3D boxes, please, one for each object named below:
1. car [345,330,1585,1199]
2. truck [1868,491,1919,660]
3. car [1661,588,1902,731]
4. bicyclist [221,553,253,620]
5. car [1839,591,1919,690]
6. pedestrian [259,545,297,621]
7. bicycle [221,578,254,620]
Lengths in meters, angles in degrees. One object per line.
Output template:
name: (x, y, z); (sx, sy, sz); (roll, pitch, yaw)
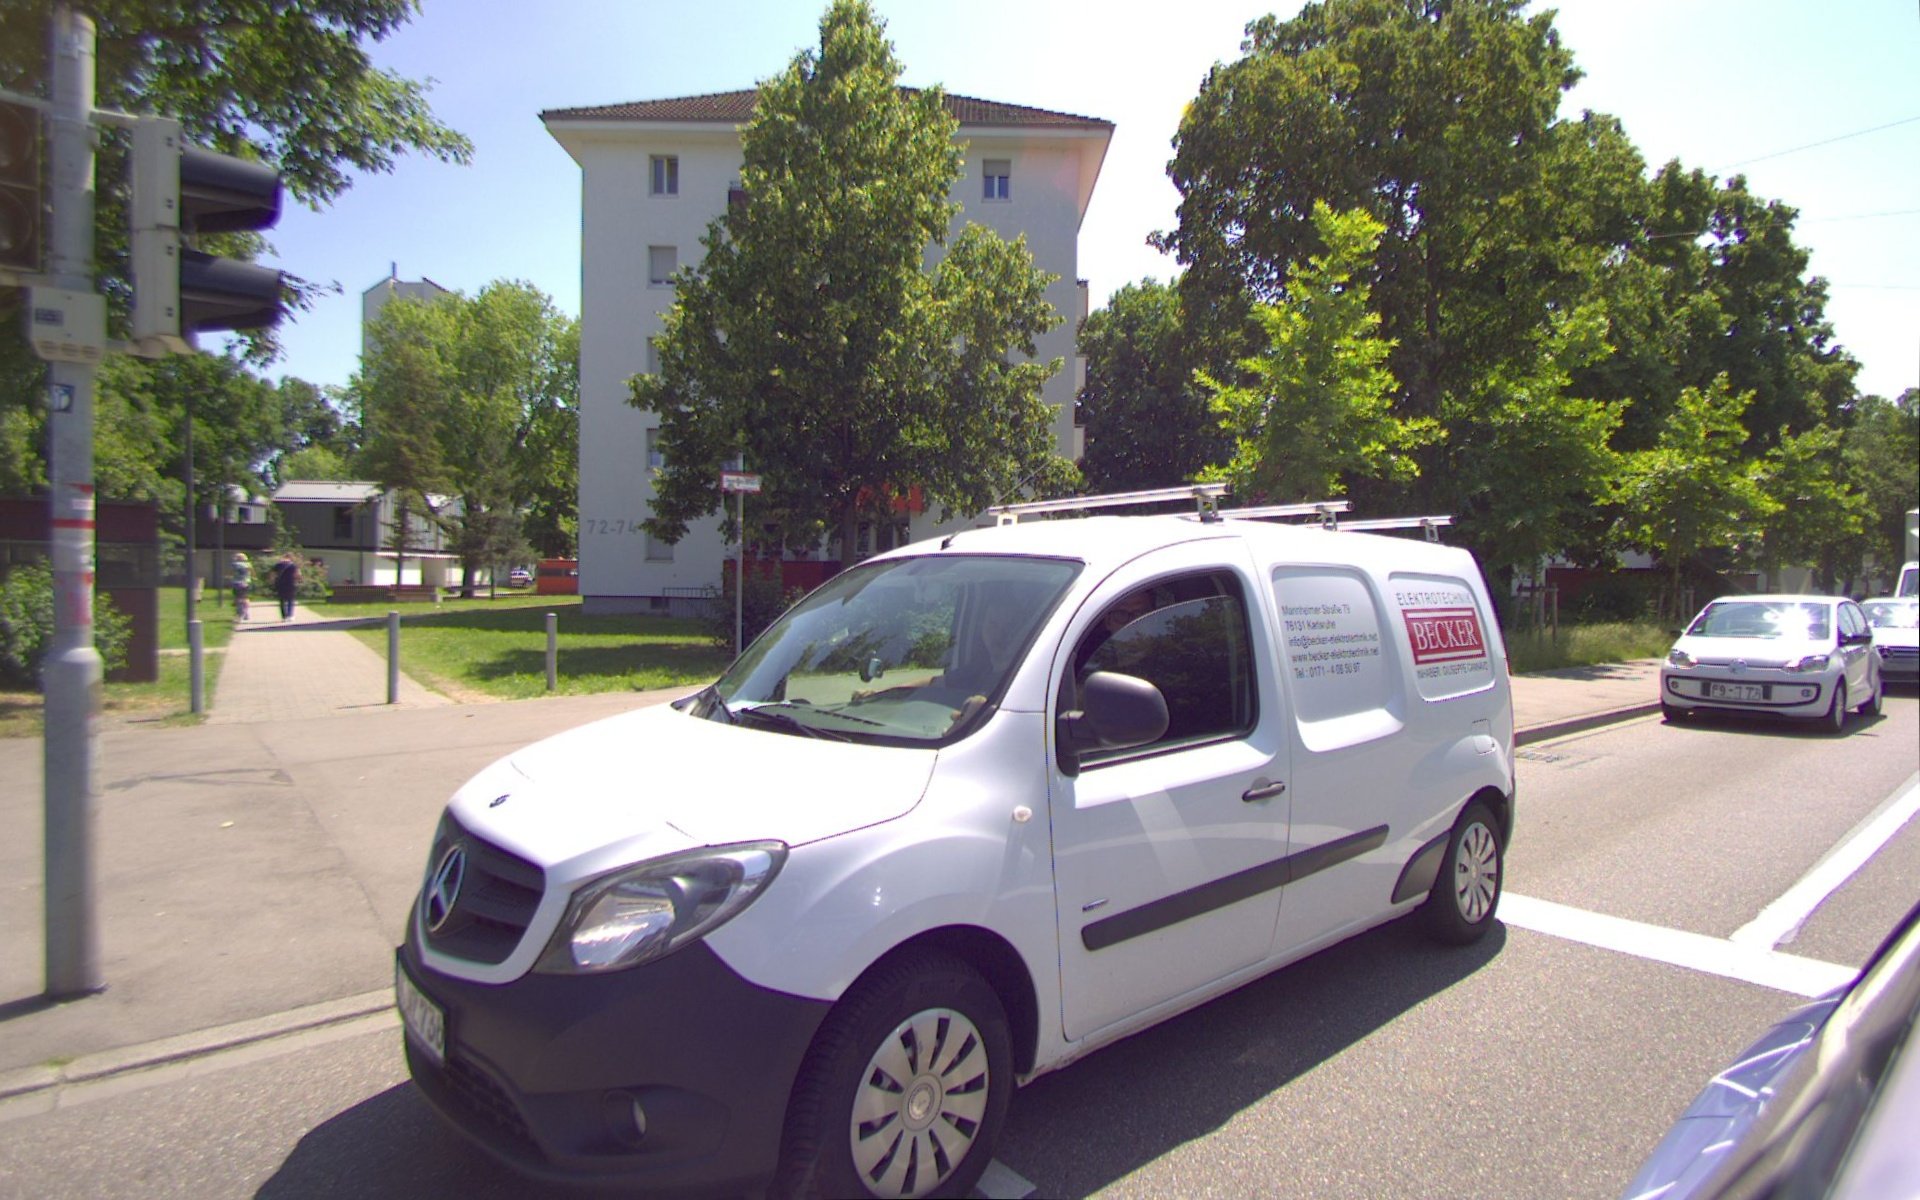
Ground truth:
car: (0.593, 0.465, 4.025); (4.993, 1.879, 1.808); (0, 0, -41)
truck: (21.851, -0.494, 21.698); (6.485, 3.337, 2.490); (0, 1, -39)
car: (9.870, 0.591, 12.089); (3.437, 1.459, 1.625); (-1, 0, -40)
bicyclist: (-18.428, -0.338, 25.797); (0.640, 1.680, 0.613); (0, 0, -38)
car: (15.195, 0.563, 15.777); (4.041, 1.398, 1.617); (-1, 0, -40)
pedestrian: (-17.831, -0.443, 26.449); (0.742, 1.942, 0.888); (0, 0, -39)
bicycle: (-18.372, -0.026, 25.731); (0.664, 1.057, 1.121); (0, 0, -37)
